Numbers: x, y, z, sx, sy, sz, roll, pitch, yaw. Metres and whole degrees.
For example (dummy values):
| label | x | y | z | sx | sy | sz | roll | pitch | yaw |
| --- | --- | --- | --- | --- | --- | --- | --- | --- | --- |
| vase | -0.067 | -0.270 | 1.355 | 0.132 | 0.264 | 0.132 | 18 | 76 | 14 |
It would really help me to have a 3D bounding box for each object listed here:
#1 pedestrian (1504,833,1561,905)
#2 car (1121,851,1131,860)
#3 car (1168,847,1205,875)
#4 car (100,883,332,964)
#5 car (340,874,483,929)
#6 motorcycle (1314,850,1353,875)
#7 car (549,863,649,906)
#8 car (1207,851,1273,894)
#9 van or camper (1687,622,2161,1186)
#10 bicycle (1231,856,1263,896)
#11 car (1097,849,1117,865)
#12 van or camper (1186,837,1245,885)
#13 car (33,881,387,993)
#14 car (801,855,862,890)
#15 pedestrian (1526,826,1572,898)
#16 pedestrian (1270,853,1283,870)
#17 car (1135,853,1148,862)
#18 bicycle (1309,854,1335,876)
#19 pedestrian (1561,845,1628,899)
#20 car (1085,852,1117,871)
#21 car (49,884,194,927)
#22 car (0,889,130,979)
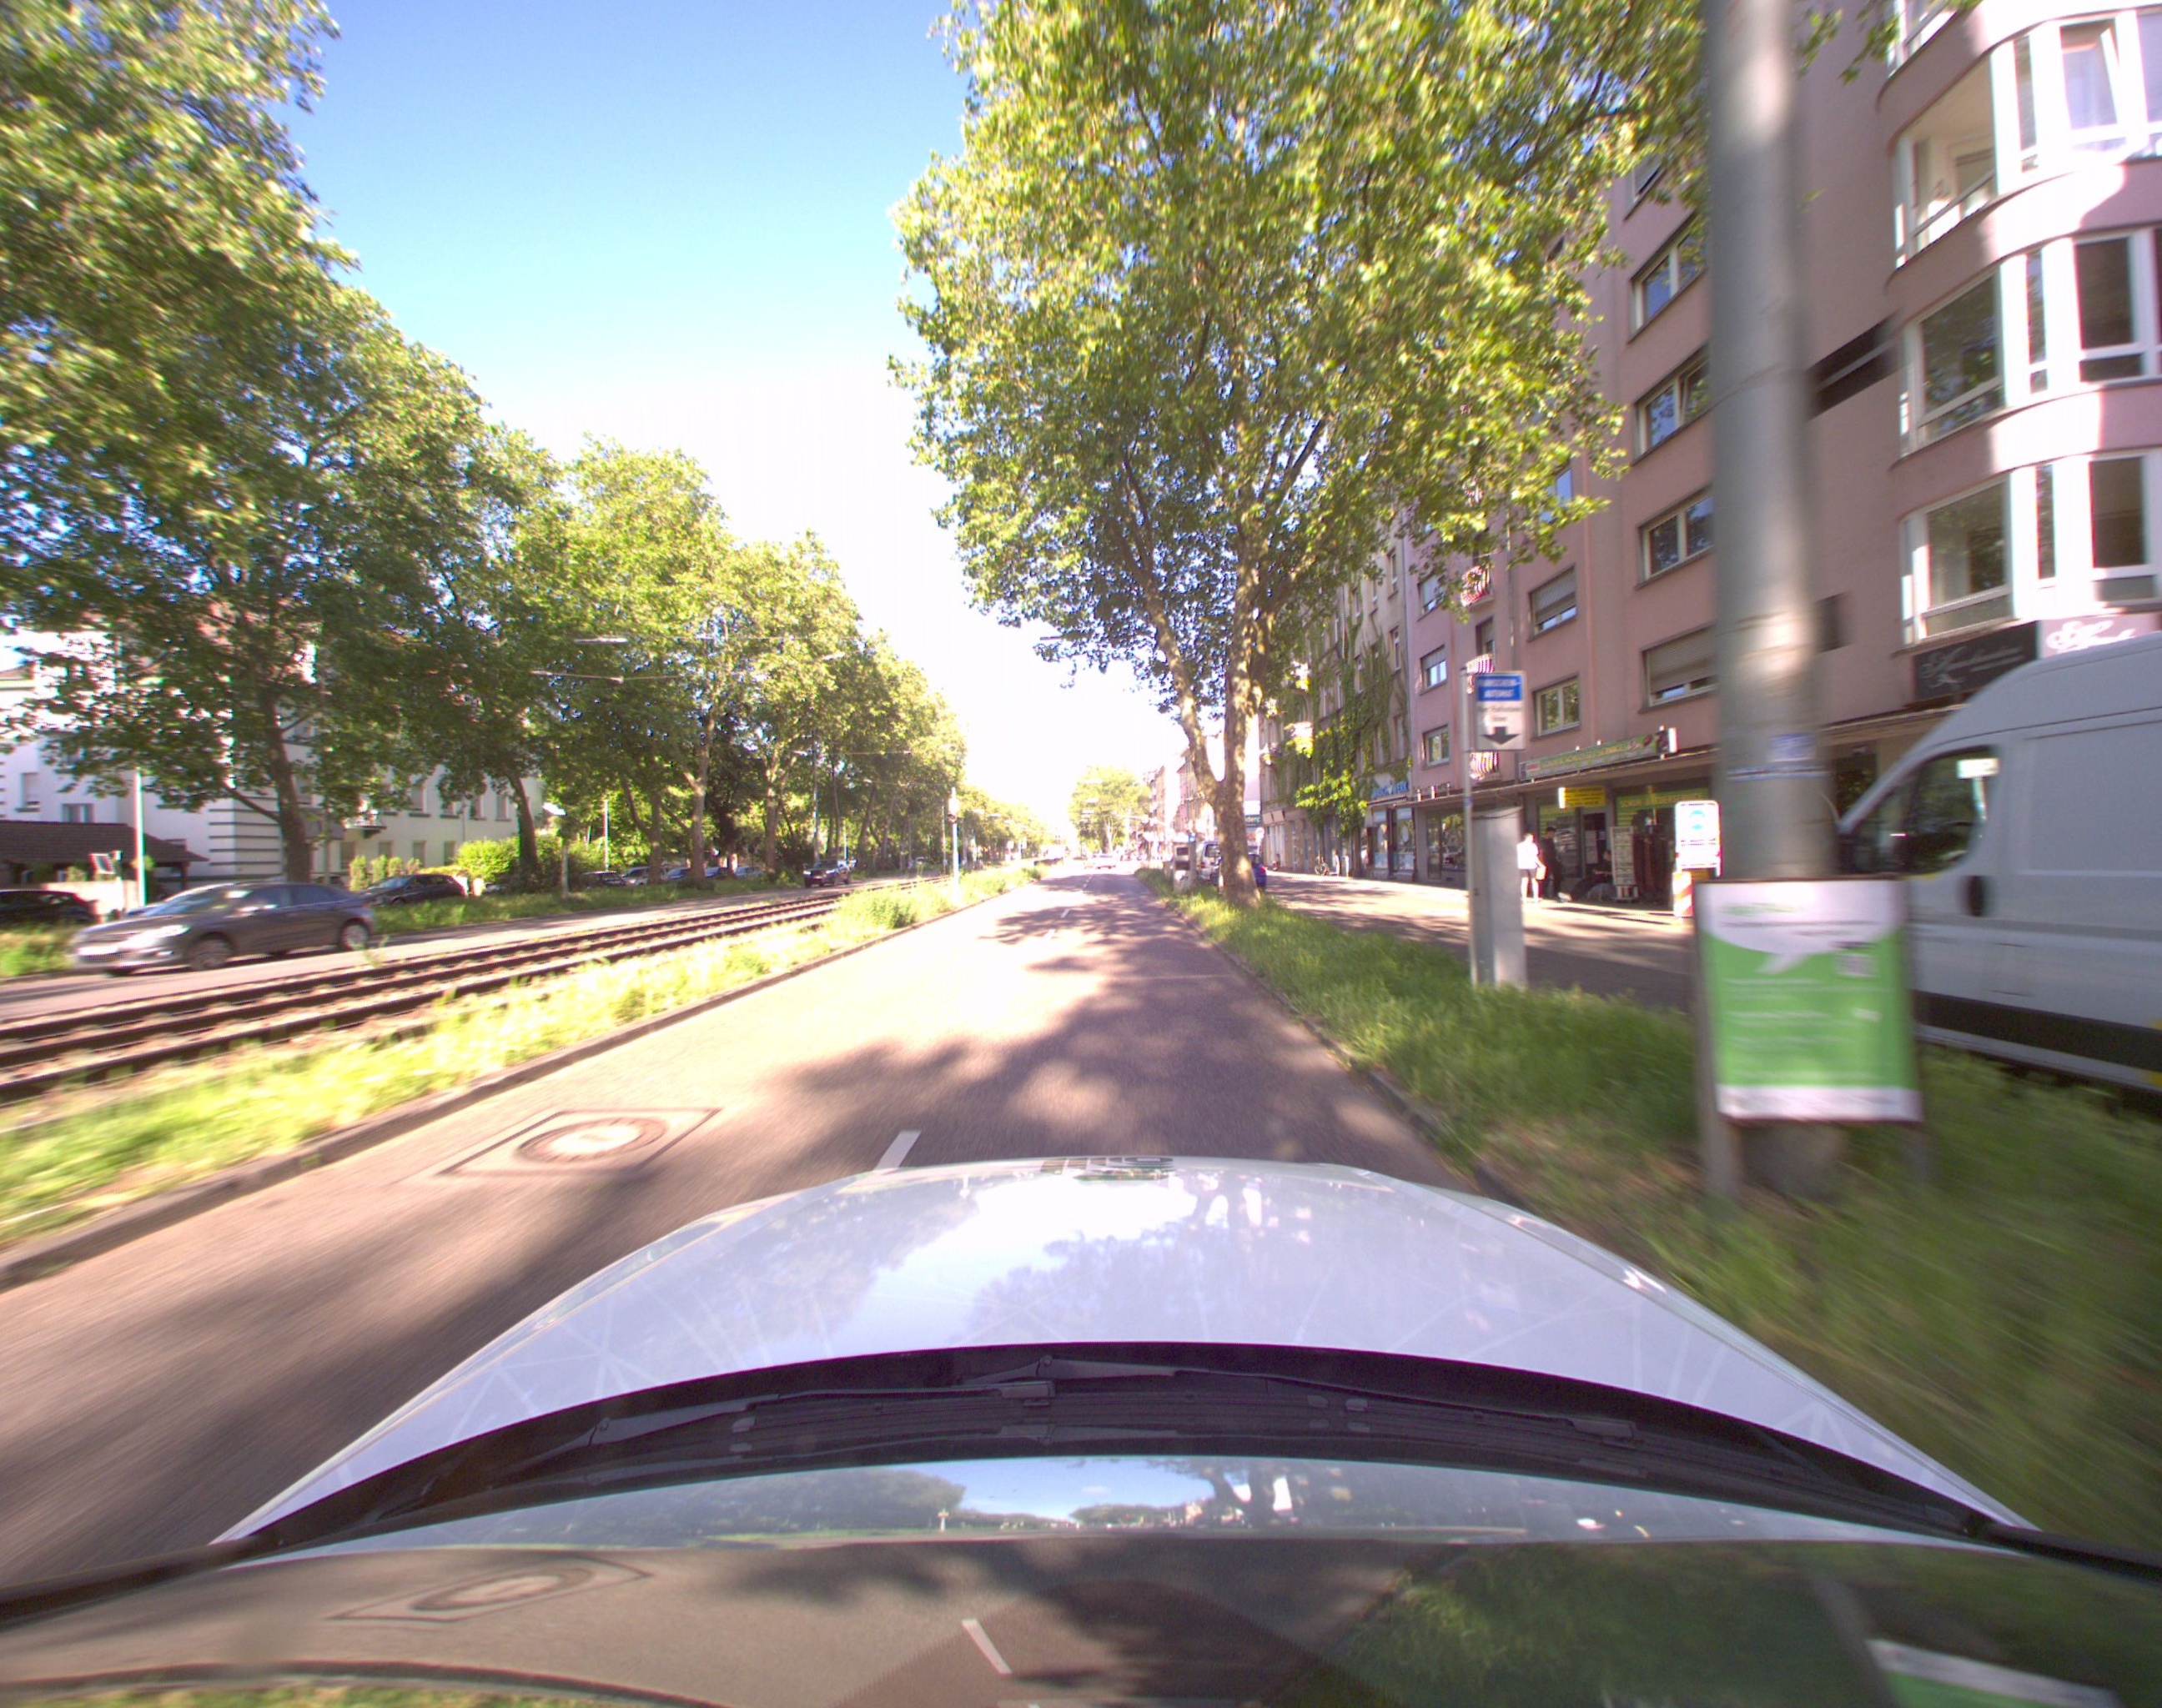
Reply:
| label | x | y | z | sx | sy | sz | roll | pitch | yaw |
| --- | --- | --- | --- | --- | --- | --- | --- | --- | --- |
| pedestrian | 11.185 | 0.357 | 20.208 | 0.919 | 1.709 | 0.813 | -2 | 0 | 2 |
| car | 7.681 | 0.307 | 139.997 | 1.676 | 1.509 | 3.670 | -1 | 0 | 2 |
| car | 6.098 | 0.393 | 47.428 | 1.677 | 1.509 | 3.667 | -1 | 0 | 0 |
| car | -26.666 | 2.051 | 25.410 | 1.985 | 2.013 | 4.688 | -2 | 1 | 3 |
| car | -26.579 | 1.822 | 32.564 | 1.814 | 1.836 | 4.555 | -2 | 1 | 1 |
| motorcycle | 12.868 | 0.417 | 41.564 | 0.562 | 1.268 | 1.872 | 1 | 0 | -43 |
| car | -26.157 | 1.620 | 44.475 | 2.145 | 2.013 | 5.270 | -2 | 1 | 1 |
| car | 6.011 | 0.649 | 31.133 | 1.678 | 1.514 | 3.665 | -1 | 0 | -2 |
| van or camper | 5.834 | 0.223 | 3.452 | 2.174 | 2.480 | 6.274 | 0 | 0 | 3 |
| bicycle | 4.365 | 0.570 | 21.521 | 0.586 | 0.990 | 1.451 | -2 | 1 | 3 |
| car | 2.806 | 0.304 | 88.735 | 2.015 | 1.662 | 4.000 | -2 | 0 | 0 |
| van or camper | 5.948 | 0.290 | 36.550 | 1.833 | 1.963 | 5.127 | -1 | 0 | 1 |
| car | -15.895 | 1.414 | 15.302 | 1.789 | 1.508 | 4.340 | -5 | 0 | 2 |
| car | -15.408 | 1.082 | 50.566 | 1.986 | 1.870 | 4.875 | -4 | 0 | 2 |
| pedestrian | 12.334 | 0.200 | 21.492 | 0.683 | 1.820 | 0.812 | -2 | 0 | 0 |
| pedestrian | 13.458 | 0.522 | 56.036 | 0.704 | 1.151 | 0.740 | -2 | 0 | 2 |
| car | 10.190 | 0.592 | 136.908 | 1.672 | 1.509 | 3.679 | -1 | 0 | 11 |
| bicycle | 12.973 | 0.573 | 43.892 | 0.882 | 1.134 | 2.402 | -2 | 0 | 5 |
| pedestrian | 12.510 | 0.439 | 19.882 | 1.139 | 1.256 | 0.749 | -2 | 0 | 1 |
| car | 1.873 | 0.725 | 76.433 | 2.024 | 1.662 | 3.982 | -2 | 0 | -13 |
| car | -40.033 | 2.111 | 34.056 | 3.584 | 1.508 | 1.999 | -2 | 0 | -1 |
| car | -26.659 | 1.994 | 19.835 | 1.985 | 2.013 | 4.105 | -2 | 1 | 3 |
